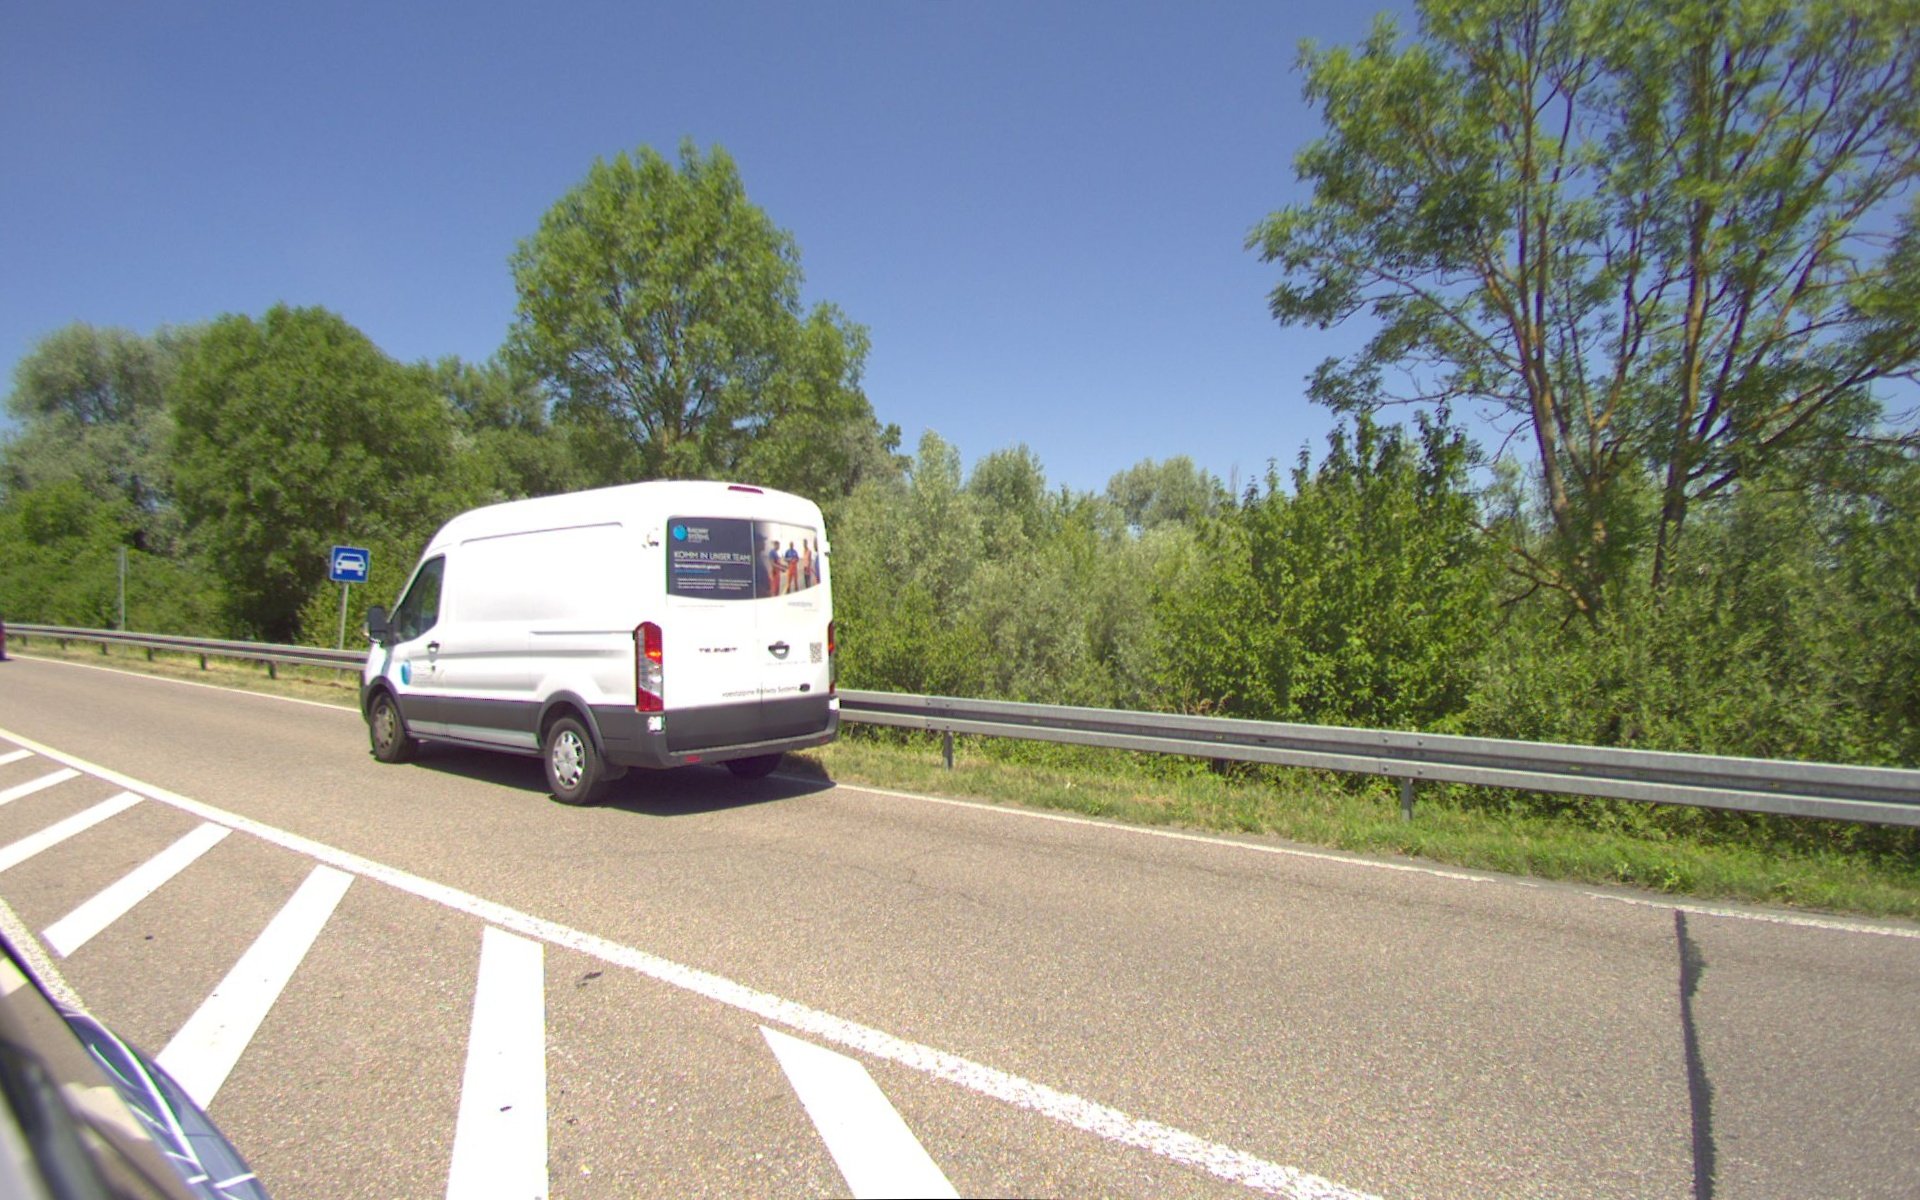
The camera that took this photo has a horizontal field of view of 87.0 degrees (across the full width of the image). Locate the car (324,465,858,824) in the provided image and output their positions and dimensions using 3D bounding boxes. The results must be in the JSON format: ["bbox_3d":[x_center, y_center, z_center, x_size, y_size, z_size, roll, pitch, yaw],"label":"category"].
[{"bbox_3d":[-3.655,0.337,9.369,5.581,2.435,1.975,-1,-2,38],"label":"car"}]
